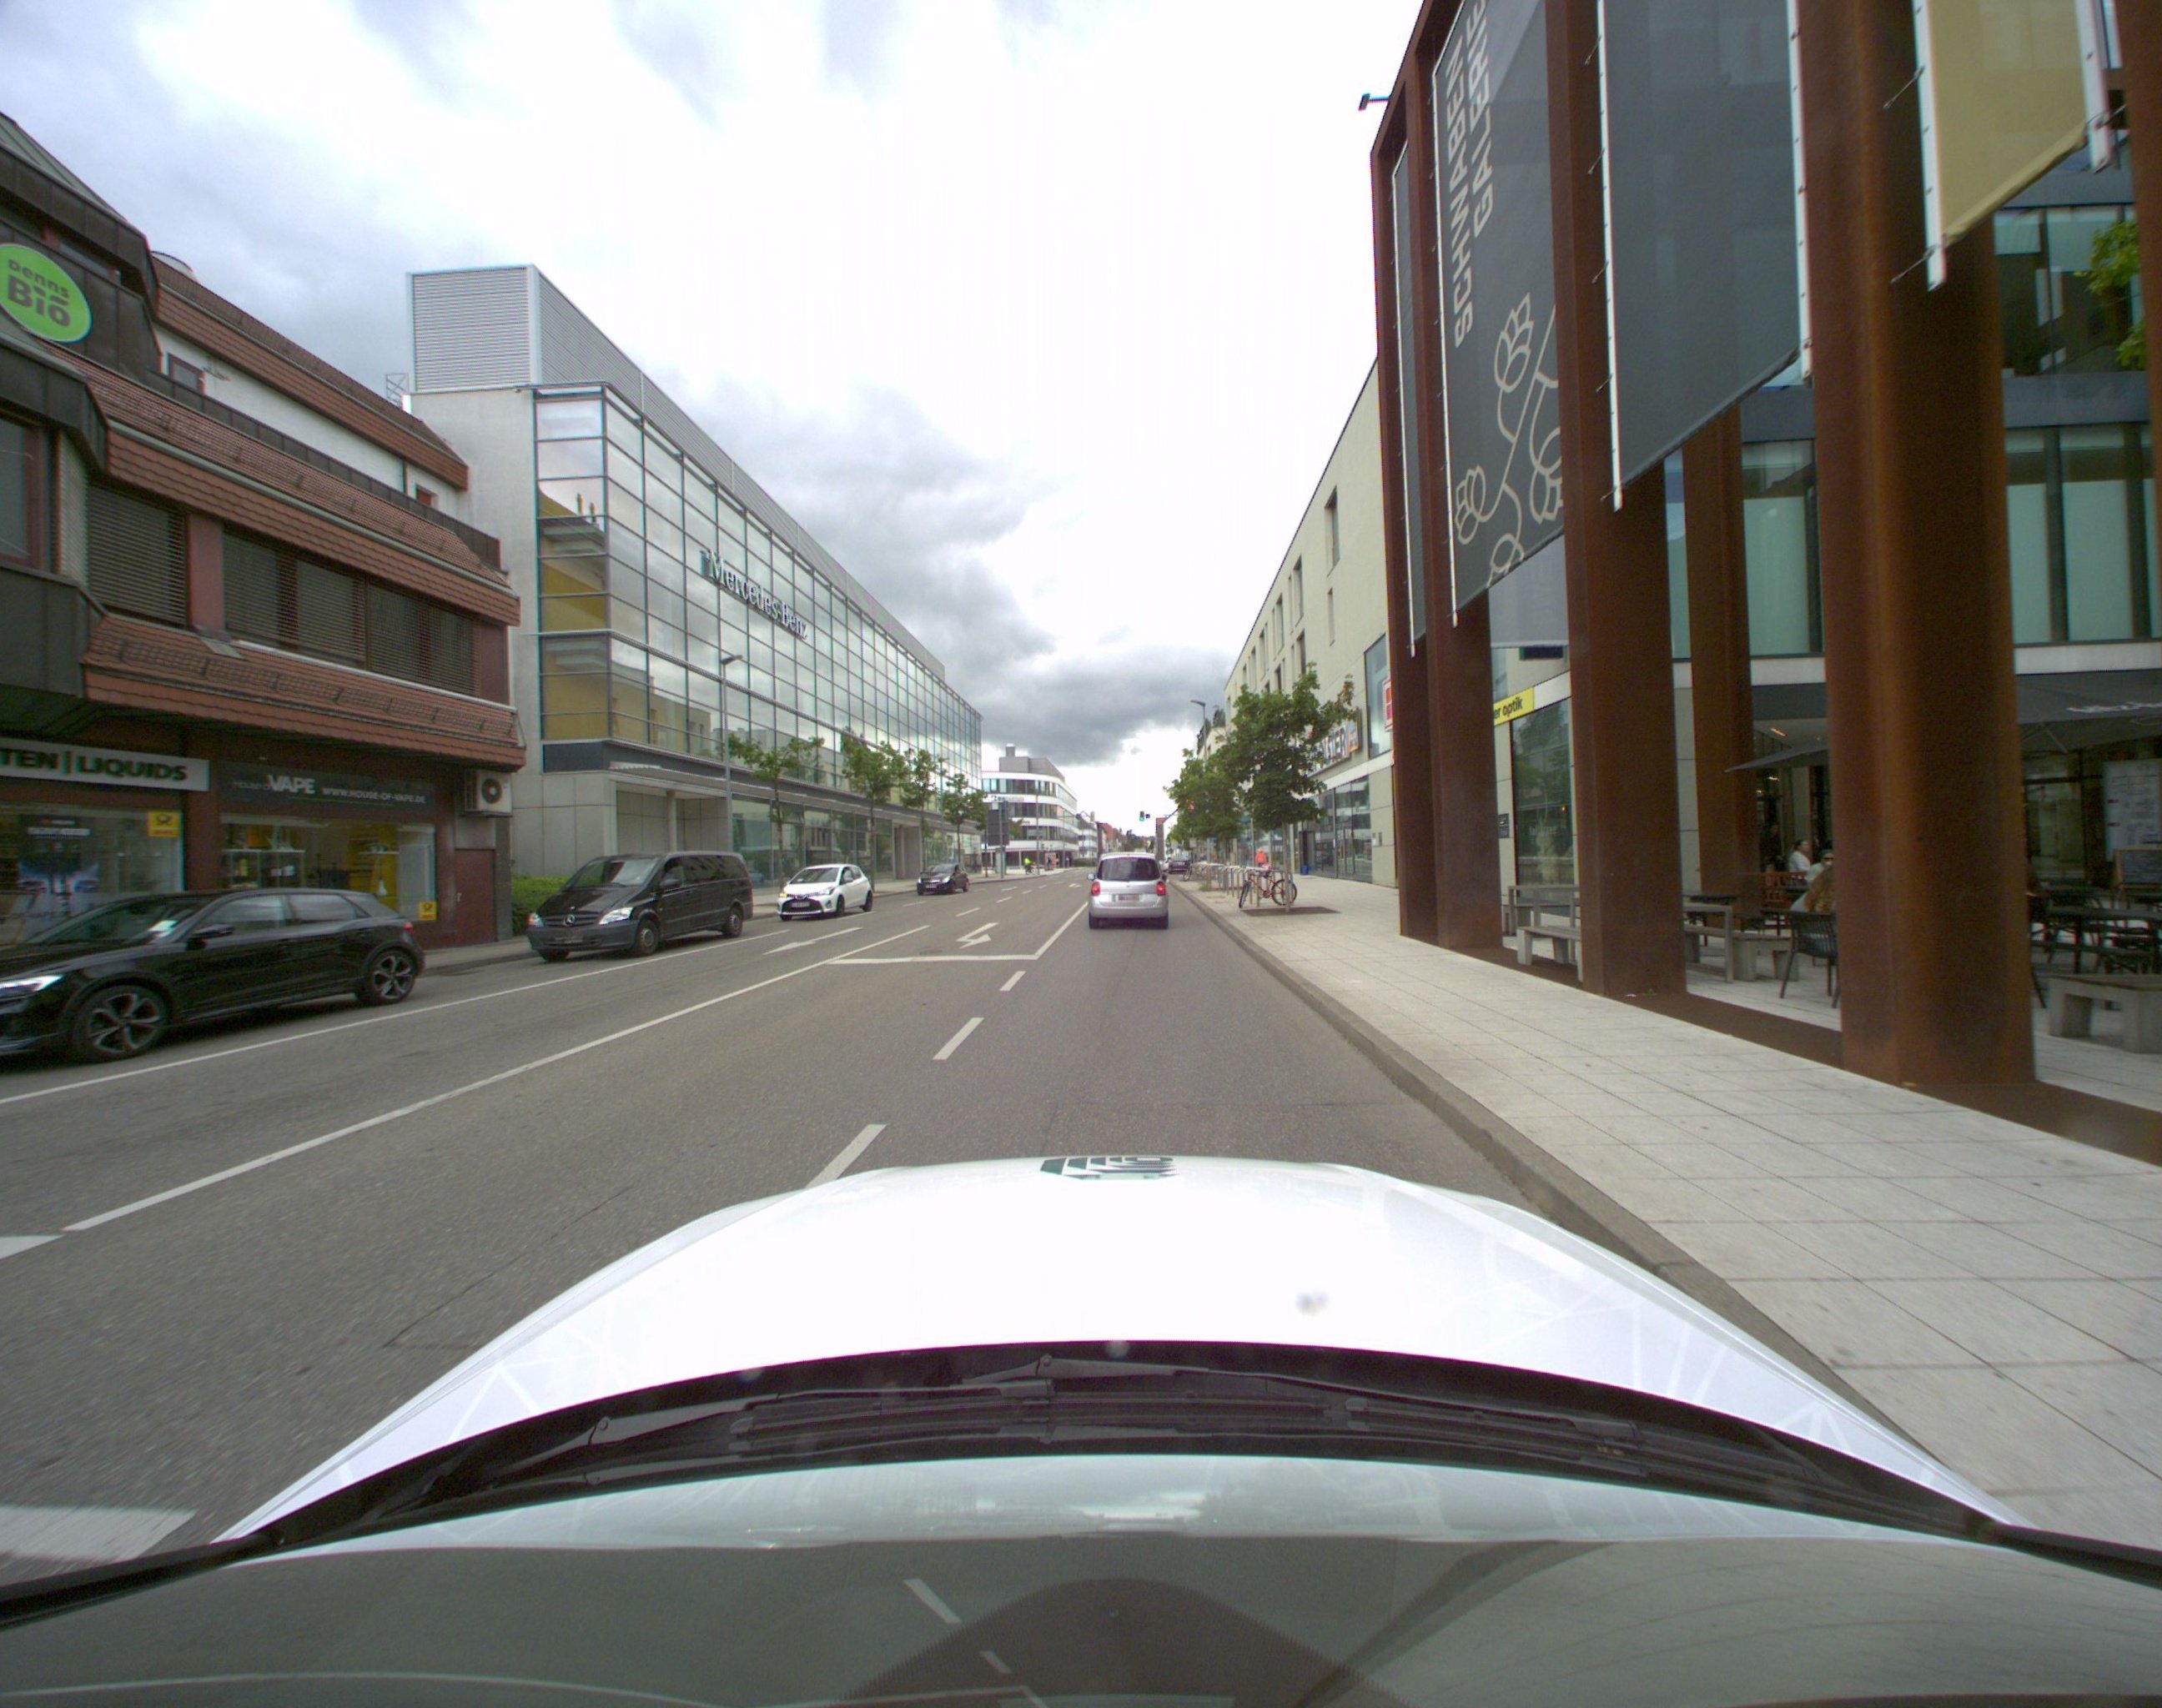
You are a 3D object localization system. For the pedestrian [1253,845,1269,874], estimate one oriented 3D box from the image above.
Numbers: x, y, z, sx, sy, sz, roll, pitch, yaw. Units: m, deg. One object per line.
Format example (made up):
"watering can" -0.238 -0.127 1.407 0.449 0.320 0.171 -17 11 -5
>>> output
"pedestrian" 10.247 0.289 46.391 0.707 1.574 0.813 -5 -1 4

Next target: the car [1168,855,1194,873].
"car" 7.934 0.761 64.711 1.869 1.335 4.005 0 0 4

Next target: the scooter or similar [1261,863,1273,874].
"scooter or similar" 10.388 0.795 45.561 0.547 0.546 0.643 -5 0 4

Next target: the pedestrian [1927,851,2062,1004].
"pedestrian" 7.646 0.594 6.843 0.445 1.220 0.608 -1 0 8

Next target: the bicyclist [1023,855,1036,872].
"bicyclist" -5.079 0.929 80.181 1.012 1.660 0.924 1 -1 -28

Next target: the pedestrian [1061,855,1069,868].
"pedestrian" -2.312 1.140 118.045 0.956 1.833 1.252 -2 0 4

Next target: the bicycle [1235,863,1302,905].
"bicycle" 4.710 0.760 20.579 1.552 0.992 0.754 -2 0 6

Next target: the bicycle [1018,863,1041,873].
"bicycle" -5.079 1.375 80.163 1.012 1.018 3.102 1 -1 -28

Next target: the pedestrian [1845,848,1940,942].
"pedestrian" 11.063 0.537 11.126 0.513 1.208 0.796 -2 1 2

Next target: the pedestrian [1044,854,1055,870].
"pedestrian" -3.844 0.998 99.466 1.244 1.833 0.962 -2 0 -5

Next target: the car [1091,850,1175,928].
"car" 1.087 0.693 18.045 1.663 1.554 3.643 0 0 2

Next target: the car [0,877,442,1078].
"car" -9.009 1.037 8.324 1.695 1.443 4.002 -1 0 2

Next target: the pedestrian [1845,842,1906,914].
"pedestrian" 13.429 0.398 13.776 0.502 1.185 0.524 -2 -1 3

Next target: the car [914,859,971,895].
"car" -6.458 1.044 38.410 1.653 1.480 4.004 -3 0 4

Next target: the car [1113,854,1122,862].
"car" 10.066 1.135 224.911 2.160 2.013 4.263 -2 0 4

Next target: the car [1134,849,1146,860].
"car" 11.232 0.149 155.027 2.160 2.013 4.263 -2 0 4

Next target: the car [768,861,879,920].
"car" -7.356 0.997 23.693 1.653 1.465 4.004 -3 0 4

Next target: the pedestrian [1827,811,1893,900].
"pedestrian" 14.682 0.034 15.361 0.520 1.632 0.737 -2 -1 6

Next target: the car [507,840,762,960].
"car" -8.386 0.765 16.014 1.857 1.909 5.118 -3 0 3

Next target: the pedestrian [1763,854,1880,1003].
"pedestrian" 6.333 0.614 6.989 0.445 1.220 0.607 -1 0 6

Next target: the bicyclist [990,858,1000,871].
"bicyclist" -9.198 1.153 87.083 0.834 1.327 0.644 -1 0 -40

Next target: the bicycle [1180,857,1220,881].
"bicycle" 5.913 0.749 40.526 1.818 1.074 0.753 -3 0 2

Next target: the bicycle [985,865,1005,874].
"bicycle" -9.180 1.646 87.070 0.834 0.898 2.496 -1 0 -39

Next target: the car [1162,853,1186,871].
"car" 8.092 0.696 71.055 1.869 1.508 4.005 0 0 4

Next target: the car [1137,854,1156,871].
"car" 6.208 0.769 77.055 1.663 1.554 3.644 0 0 3
